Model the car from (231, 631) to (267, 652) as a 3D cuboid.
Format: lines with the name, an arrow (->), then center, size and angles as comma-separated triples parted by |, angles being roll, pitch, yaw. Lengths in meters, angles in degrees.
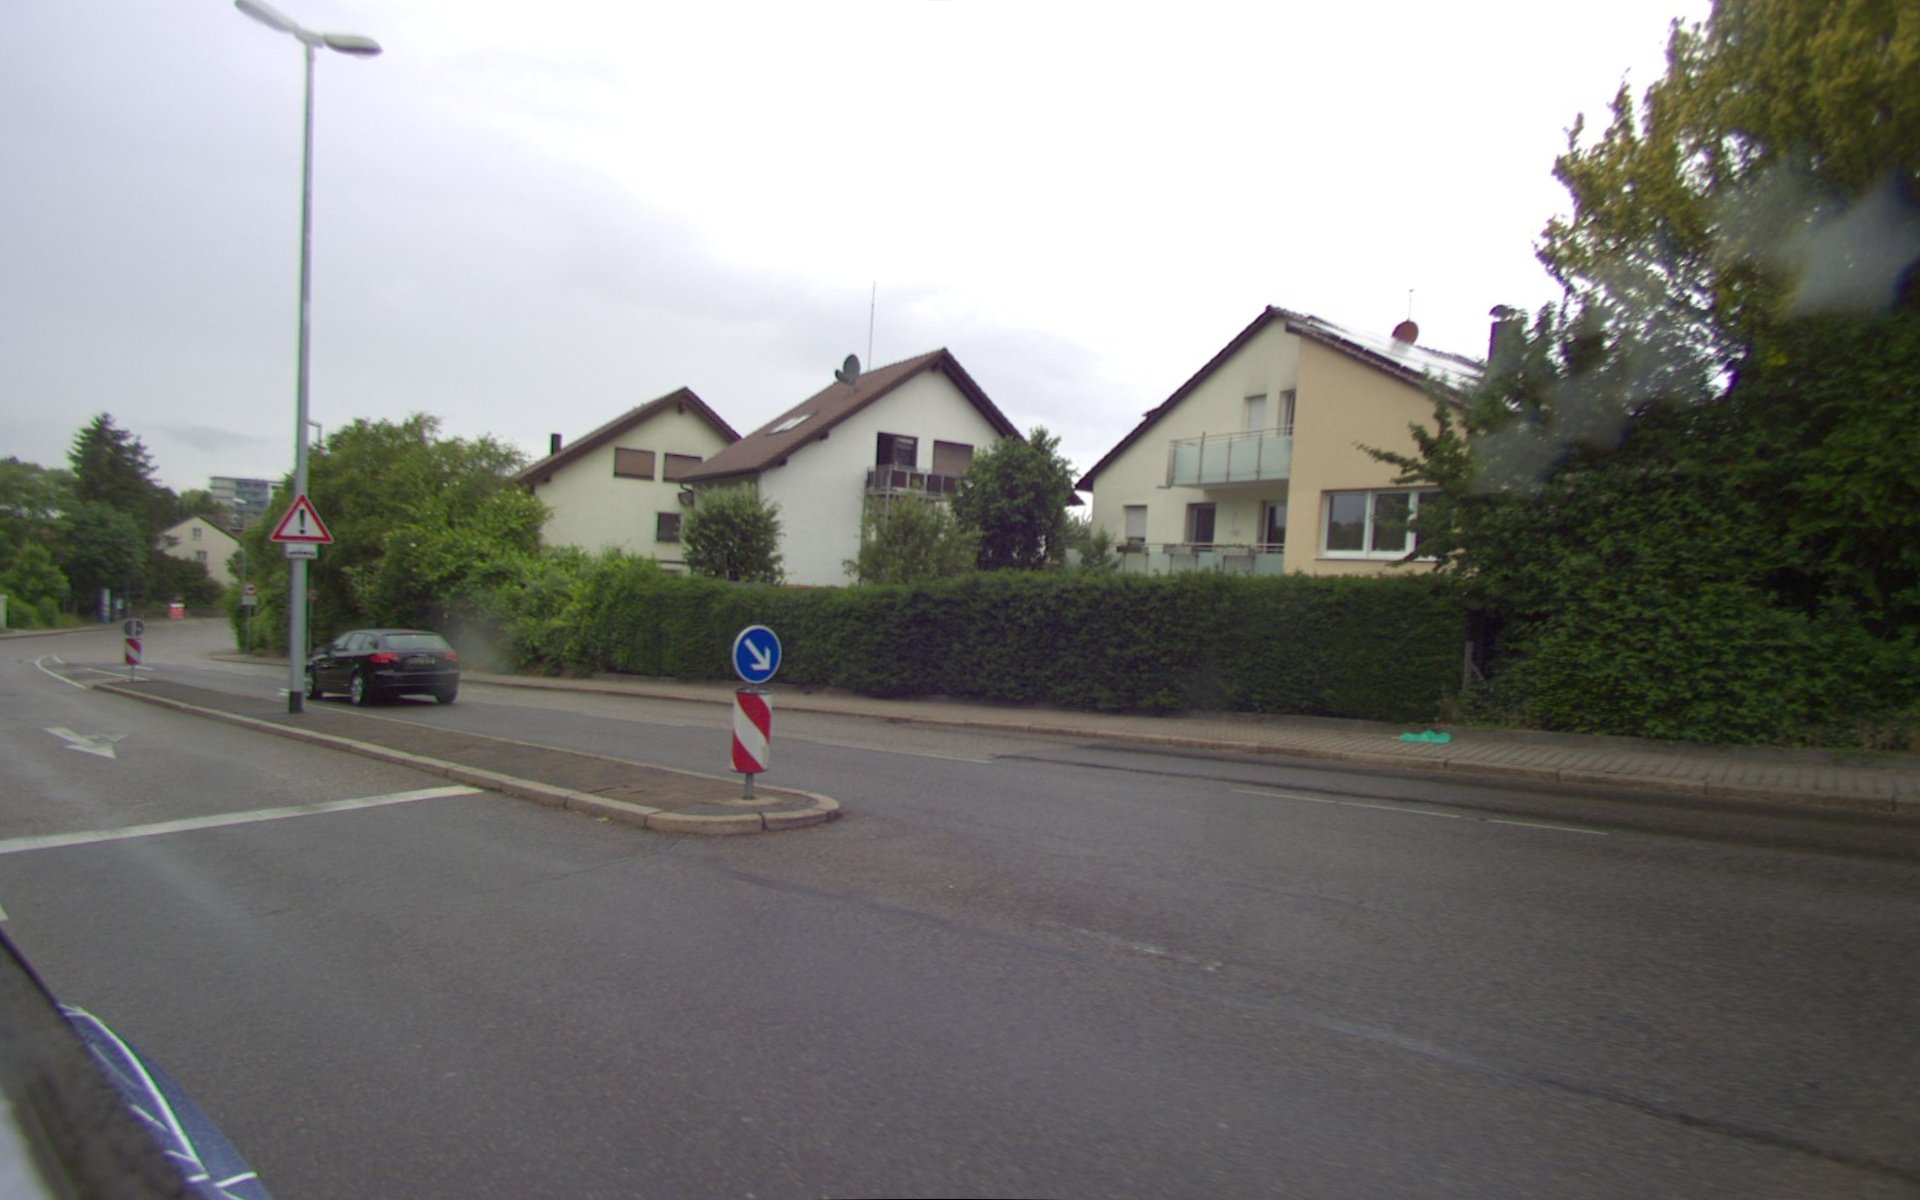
car -> -69.312, 4.052, 98.710 | 1.928, 1.860, 4.013 | 3, -4, -22

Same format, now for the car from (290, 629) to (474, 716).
car -> -11.265, 1.343, 19.647 | 3.829, 1.504, 1.844 | -2, -3, 39
